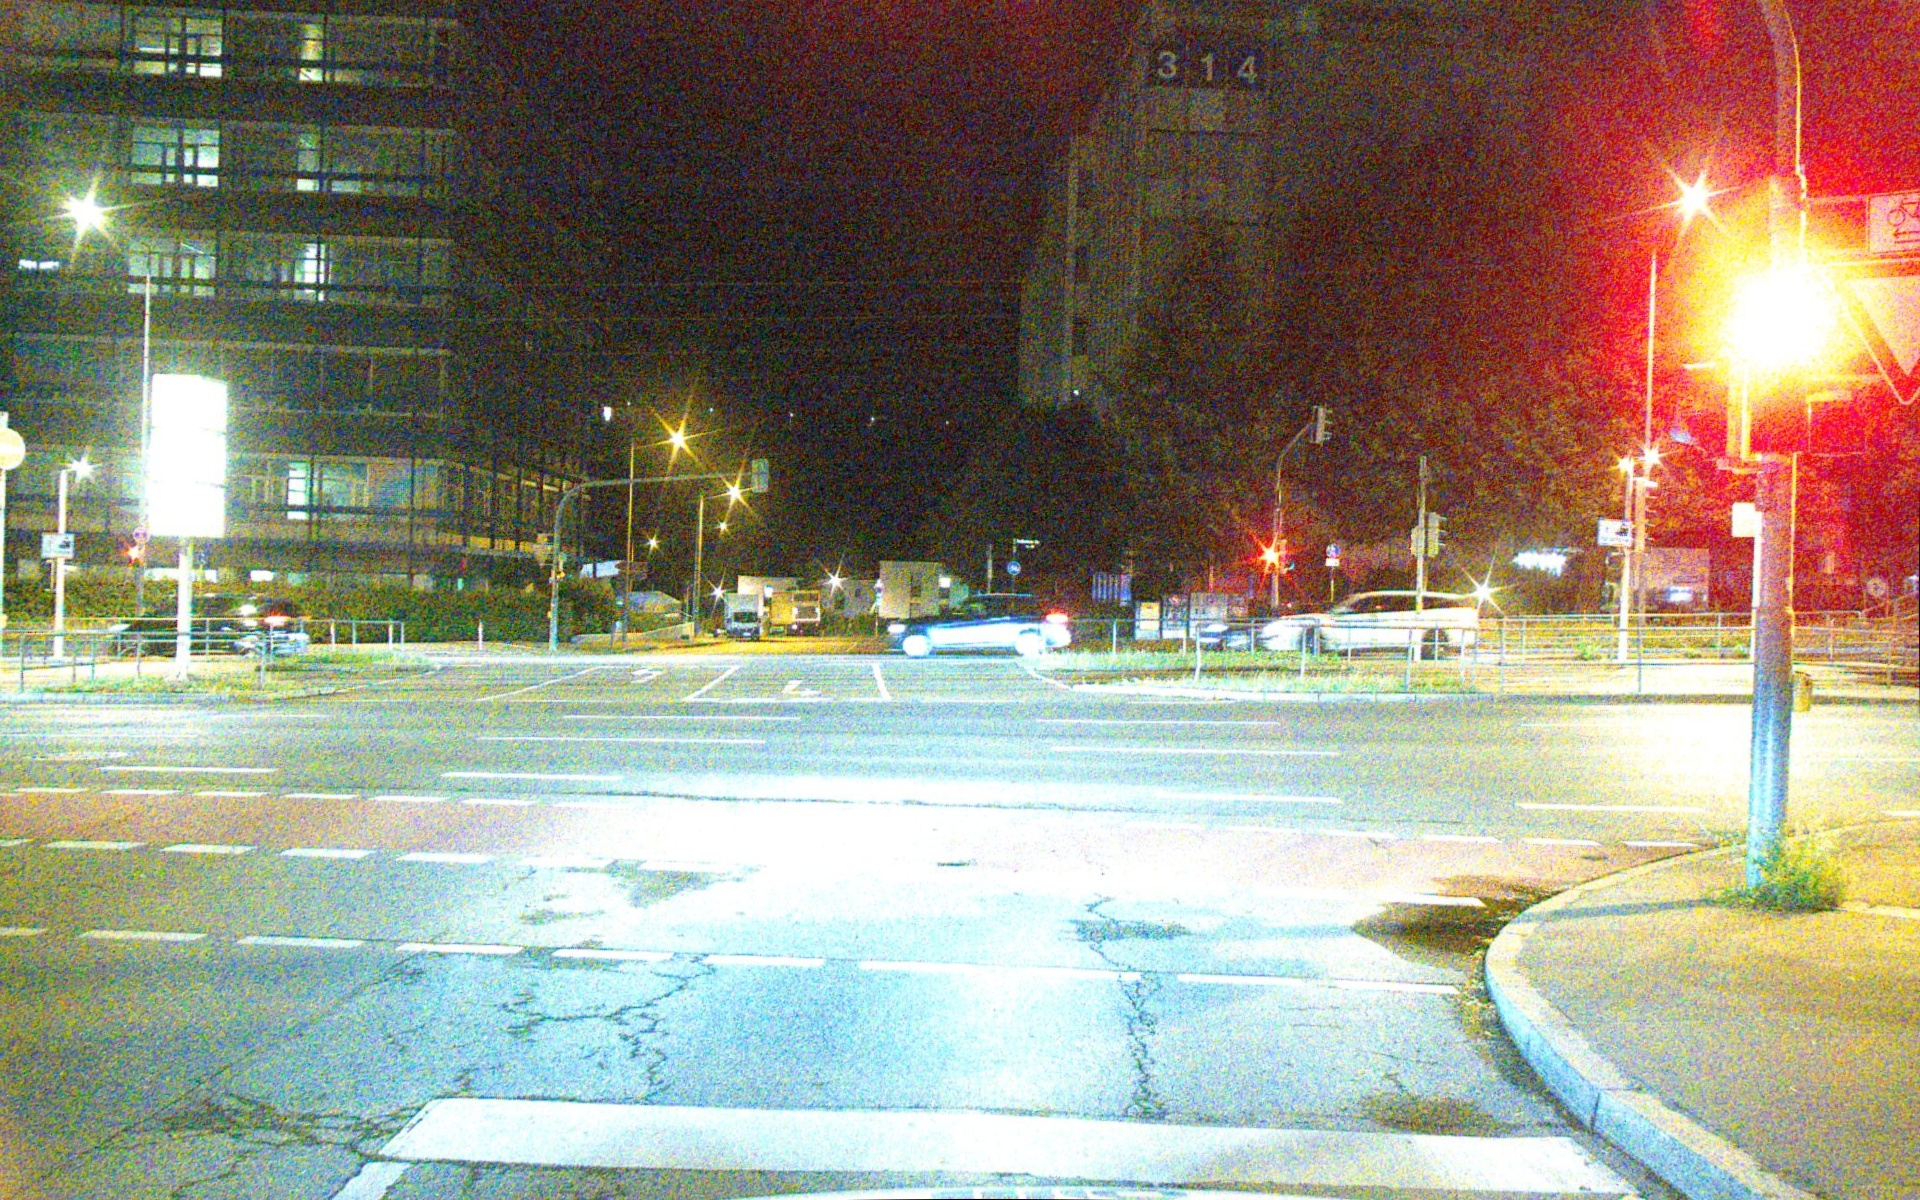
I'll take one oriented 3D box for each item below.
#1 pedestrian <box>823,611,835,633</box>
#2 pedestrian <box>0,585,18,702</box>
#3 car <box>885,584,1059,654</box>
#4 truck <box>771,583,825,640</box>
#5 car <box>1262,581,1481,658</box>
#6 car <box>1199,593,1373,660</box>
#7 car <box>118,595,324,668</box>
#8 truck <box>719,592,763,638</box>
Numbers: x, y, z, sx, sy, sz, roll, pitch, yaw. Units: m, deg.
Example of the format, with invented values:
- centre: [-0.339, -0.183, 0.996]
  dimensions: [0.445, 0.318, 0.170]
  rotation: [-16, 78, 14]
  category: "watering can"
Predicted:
- centre: [-11.682, 1.991, 147.318]
  dimensions: [0.836, 1.945, 1.001]
  rotation: [2, -1, -18]
  category: "pedestrian"
- centre: [-14.760, 0.648, 24.890]
  dimensions: [0.663, 1.752, 0.706]
  rotation: [1, -1, 25]
  category: "pedestrian"
- centre: [0.334, 0.468, 40.486]
  dimensions: [4.145, 1.613, 1.804]
  rotation: [1, -1, 3]
  category: "car"
- centre: [-14.626, 1.026, 148.605]
  dimensions: [3.307, 4.927, 7.868]
  rotation: [2, -1, -17]
  category: "truck"
- centre: [9.182, 0.412, 37.134]
  dimensions: [4.476, 1.612, 1.847]
  rotation: [-1, 1, 1]
  category: "car"
- centre: [8.415, 0.692, 42.938]
  dimensions: [4.146, 1.613, 1.887]
  rotation: [1, -1, 1]
  category: "car"
- centre: [-16.999, 0.717, 38.163]
  dimensions: [3.905, 1.613, 1.804]
  rotation: [0, 0, 1]
  category: "car"
- centre: [-15.856, 1.084, 119.440]
  dimensions: [2.377, 3.143, 6.414]
  rotation: [2, -1, -14]
  category: "truck"
